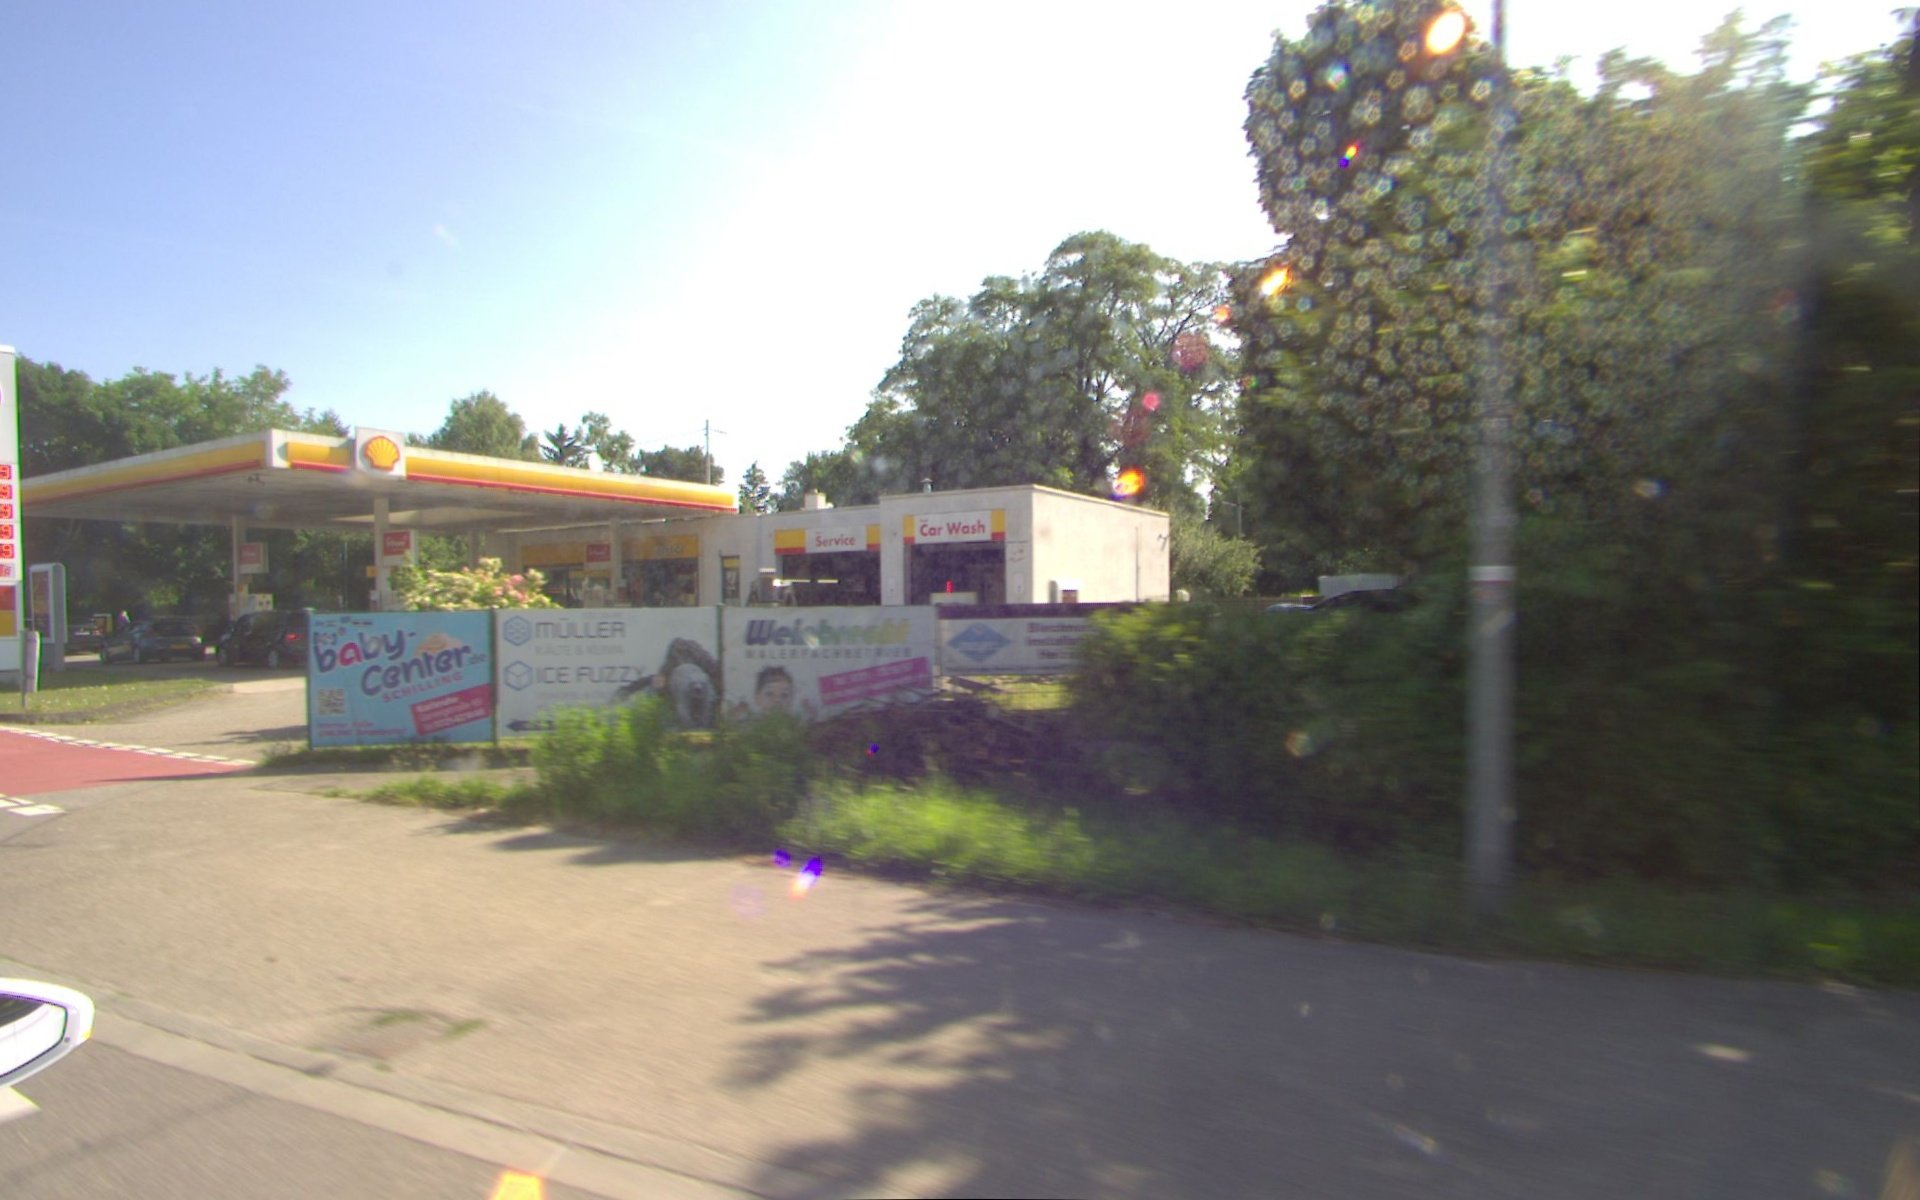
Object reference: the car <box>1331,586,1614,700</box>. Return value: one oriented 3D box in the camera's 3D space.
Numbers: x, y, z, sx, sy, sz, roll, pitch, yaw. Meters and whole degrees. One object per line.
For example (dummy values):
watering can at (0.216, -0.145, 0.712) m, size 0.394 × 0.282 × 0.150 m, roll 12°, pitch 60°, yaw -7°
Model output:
car at (8.139, 0.644, 16.122) m, size 3.880 × 1.650 × 1.676 m, roll -1°, pitch 0°, yaw 29°

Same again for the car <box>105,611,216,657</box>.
car at (-26.050, 1.076, 32.604) m, size 3.795 × 1.379 × 1.793 m, roll -1°, pitch 0°, yaw 34°

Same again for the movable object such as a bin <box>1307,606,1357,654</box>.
movable object such as a bin at (10.452, 0.837, 28.152) m, size 0.849 × 1.307 × 1.234 m, roll -1°, pitch 0°, yaw -7°

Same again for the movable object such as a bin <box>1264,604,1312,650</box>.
movable object such as a bin at (9.937, 0.801, 30.392) m, size 0.834 × 1.343 × 1.233 m, roll -1°, pitch 0°, yaw -15°

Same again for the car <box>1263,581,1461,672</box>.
car at (9.005, 0.610, 22.466) m, size 3.882 × 1.816 × 1.676 m, roll -4°, pitch -1°, yaw 29°

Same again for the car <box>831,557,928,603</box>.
car at (-2.980, -0.691, 37.828) m, size 1.629 × 1.505 × 3.979 m, roll -1°, pitch -2°, yaw 33°

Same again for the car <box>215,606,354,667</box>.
car at (-19.169, 0.997, 28.390) m, size 3.819 × 1.599 × 1.757 m, roll -1°, pitch 0°, yaw 30°

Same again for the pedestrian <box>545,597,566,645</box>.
pedestrian at (-14.457, 0.752, 35.753) m, size 0.493 × 1.690 × 0.473 m, roll 0°, pitch 1°, yaw 33°

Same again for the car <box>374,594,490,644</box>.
car at (-20.873, 0.737, 39.539) m, size 4.709 × 1.862 × 1.848 m, roll -1°, pitch 0°, yaw 30°

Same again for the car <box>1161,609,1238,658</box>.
car at (8.255, 1.157, 34.393) m, size 1.701 × 1.595 × 3.378 m, roll -1°, pitch -2°, yaw 30°
